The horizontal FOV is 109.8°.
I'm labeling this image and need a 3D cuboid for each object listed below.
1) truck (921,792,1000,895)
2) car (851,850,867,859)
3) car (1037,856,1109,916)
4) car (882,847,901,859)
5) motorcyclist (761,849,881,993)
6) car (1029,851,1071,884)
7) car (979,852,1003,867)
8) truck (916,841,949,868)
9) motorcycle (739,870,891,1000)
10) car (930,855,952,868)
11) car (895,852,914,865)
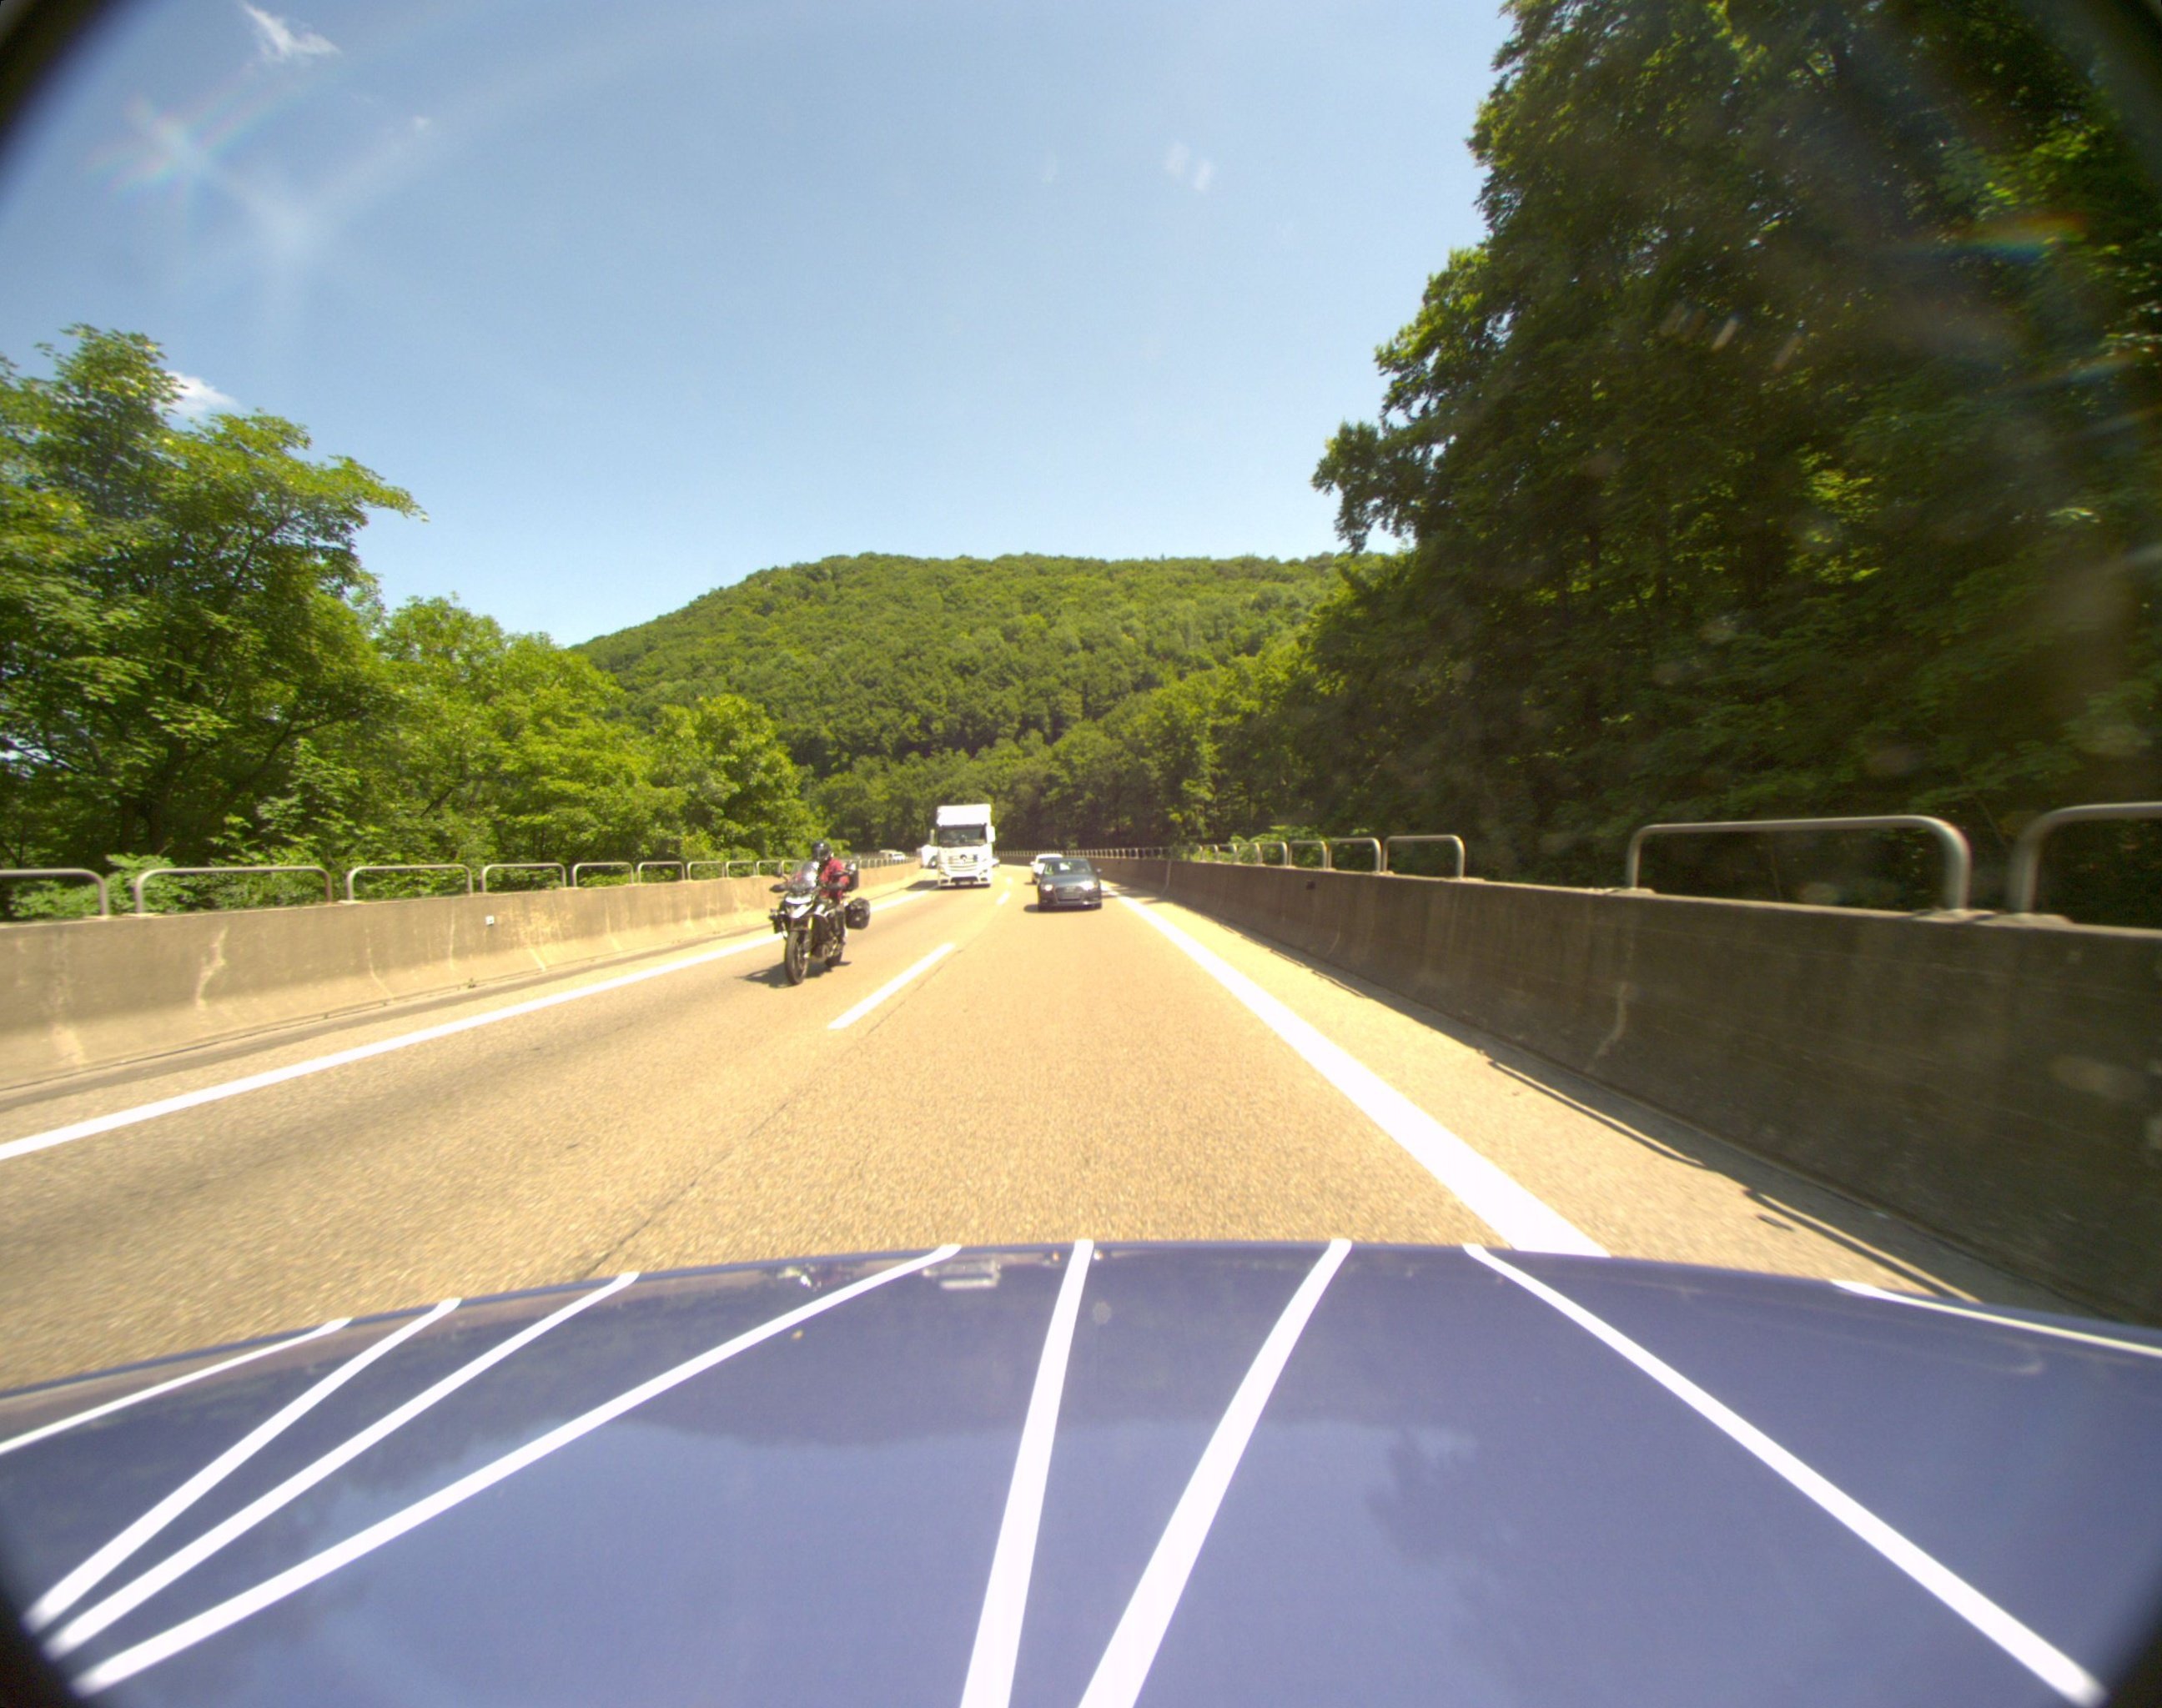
[{"bbox_3d":[-5.805,-0.466,39.438,2.970,4.109,16.696,-2,1,-6],"label":"truck"},{"bbox_3d":[-46.579,0.024,159.593,2.003,1.783,3.990,-3,1,-34],"label":"car"},{"bbox_3d":[-0.313,0.820,21.338,1.756,1.350,4.120,-4,1,-3],"label":"car"},{"bbox_3d":[-31.437,-0.146,125.858,2.003,2.002,3.990,-2,1,-31],"label":"car"},{"bbox_3d":[-3.463,0.847,10.279,1.063,1.790,1.338,-2,0,2],"label":"motorcyclist"},{"bbox_3d":[-1.648,0.653,38.748,1.756,1.460,3.979,-4,1,-7],"label":"car"},{"bbox_3d":[-9.814,0.593,82.695,1.758,1.480,3.976,-2,0,-17],"label":"car"},{"bbox_3d":[-18.318,0.039,93.587,2.621,3.084,6.842,-3,1,-22],"label":"truck"},{"bbox_3d":[-3.447,0.978,10.230,0.975,1.411,2.681,-2,1,1],"label":"motorcycle"},{"bbox_3d":[-16.332,0.857,88.515,1.758,1.480,3.975,-2,0,-21],"label":"car"},{"bbox_3d":[-27.719,0.687,118.937,2.002,2.002,3.991,-2,1,-26],"label":"car"}]
